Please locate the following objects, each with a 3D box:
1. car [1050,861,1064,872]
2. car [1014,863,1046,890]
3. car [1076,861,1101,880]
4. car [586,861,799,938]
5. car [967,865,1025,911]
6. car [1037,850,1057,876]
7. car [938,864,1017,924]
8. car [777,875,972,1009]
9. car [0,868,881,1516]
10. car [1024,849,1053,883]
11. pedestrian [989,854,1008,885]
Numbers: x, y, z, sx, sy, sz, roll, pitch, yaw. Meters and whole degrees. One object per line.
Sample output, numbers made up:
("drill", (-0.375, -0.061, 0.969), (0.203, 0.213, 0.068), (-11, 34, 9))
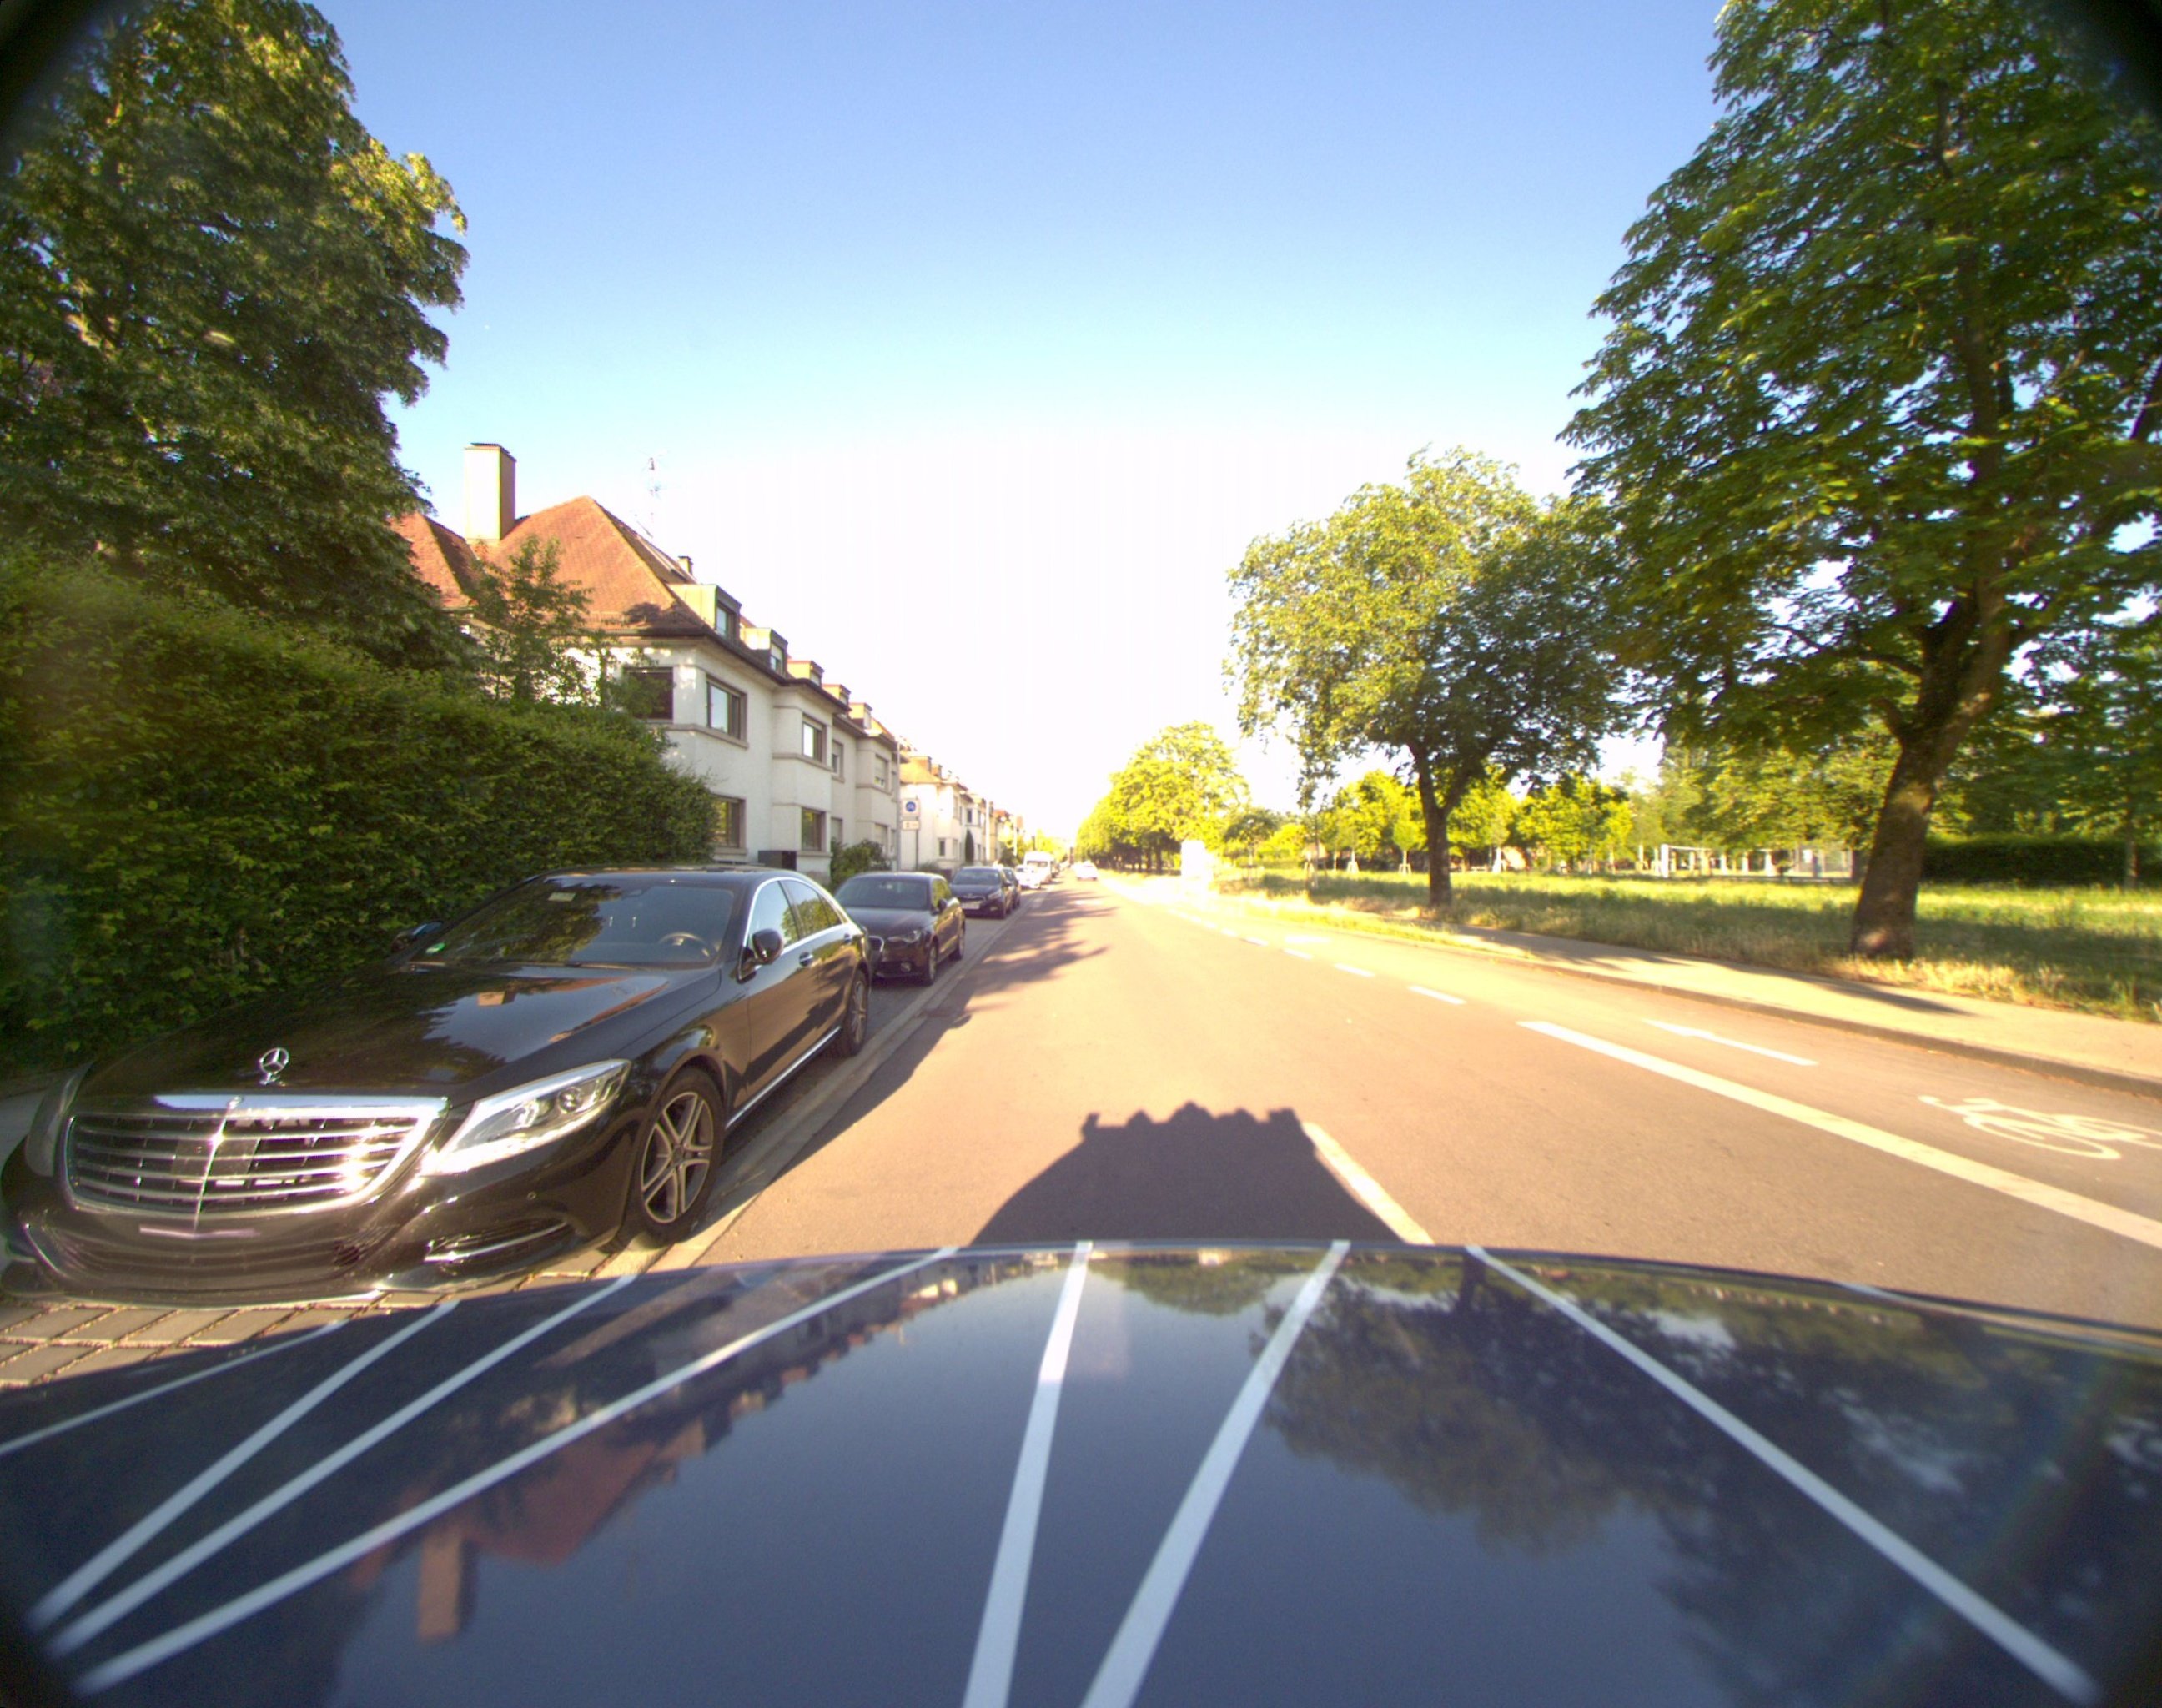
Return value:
("car", (-3.663, 1.944, 116.650), (1.974, 1.630, 4.000), (0, 0, -1))
("car", (-3.100, 1.336, 46.681), (1.787, 1.498, 4.233), (-1, 0, -2))
("car", (0.658, 1.512, 72.008), (1.896, 1.667, 4.423), (-2, 0, -5))
("car", (-8.230, 0.936, 16.367), (3.644, 1.487, 1.780), (2, 0, -5))
("car", (-3.008, 1.164, 27.555), (1.723, 1.463, 3.983), (2, 0, -2))
("car", (-3.977, 1.063, 90.024), (2.134, 2.837, 5.987), (-1, 0, -1))
("car", (-2.927, 1.086, 22.223), (1.751, 1.466, 4.255), (3, 0, -2))
("car", (-2.657, 1.061, 10.704), (1.645, 1.419, 3.936), (2, 0, 0))
("car", (-2.632, 0.901, 4.334), (1.864, 1.533, 4.872), (1, 0, -3))
("car", (-3.300, 0.934, 59.748), (2.135, 2.503, 5.507), (1, 0, -2))
("pedestrian", (-5.355, 1.004, 49.298), (1.089, 2.002, 0.865), (0, 0, -16))
